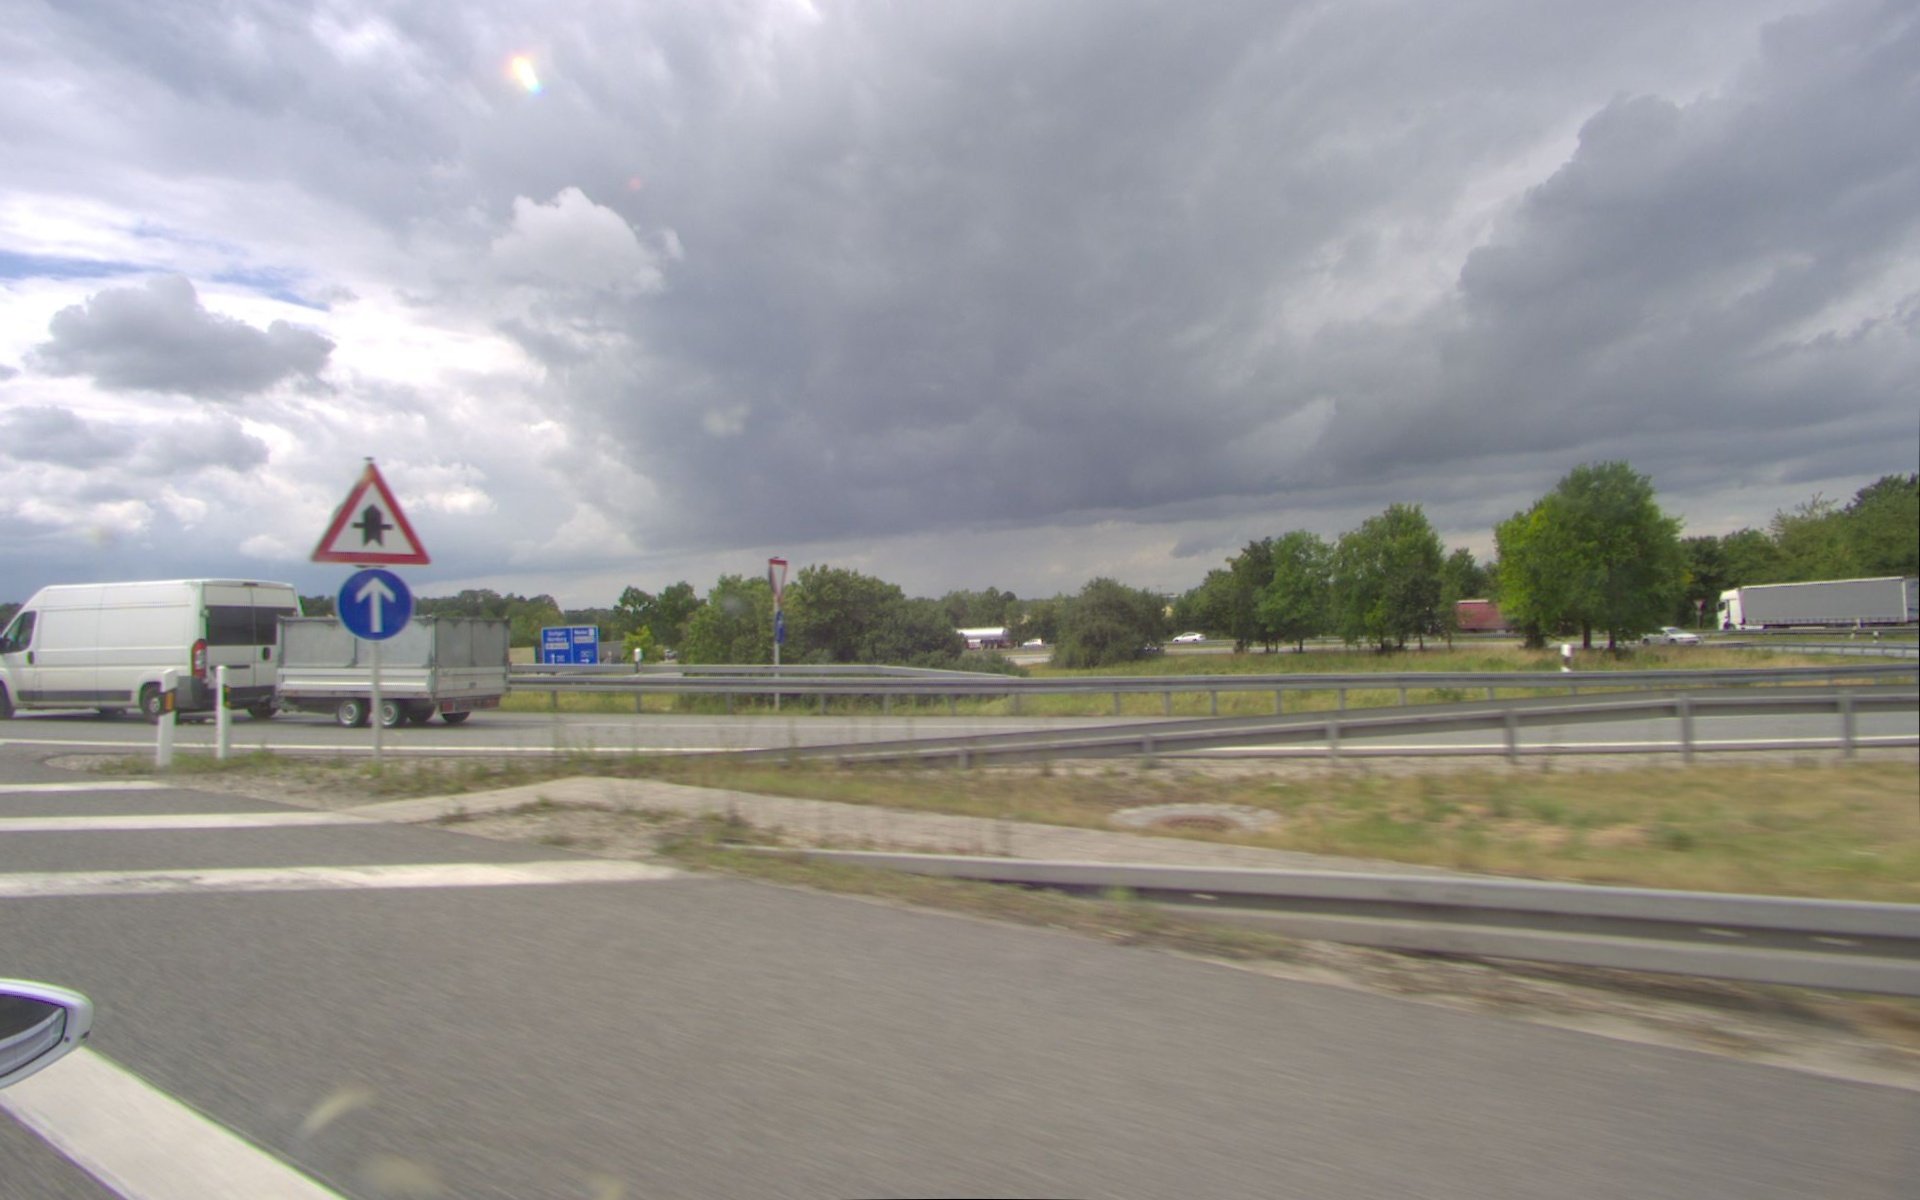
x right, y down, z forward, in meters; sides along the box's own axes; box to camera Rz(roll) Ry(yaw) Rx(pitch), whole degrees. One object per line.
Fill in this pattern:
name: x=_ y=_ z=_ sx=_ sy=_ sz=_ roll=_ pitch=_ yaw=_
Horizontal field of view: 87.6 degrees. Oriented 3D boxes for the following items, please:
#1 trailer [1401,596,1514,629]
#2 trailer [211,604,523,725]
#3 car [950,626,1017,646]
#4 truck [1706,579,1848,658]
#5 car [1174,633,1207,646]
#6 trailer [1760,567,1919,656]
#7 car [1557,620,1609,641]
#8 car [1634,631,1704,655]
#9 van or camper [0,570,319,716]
trailer: x=55.667 y=1.445 z=112.491 sx=3.089 sy=3.493 sz=11.628 roll=0 pitch=-2 yaw=-31
trailer: x=-10.021 y=1.059 z=17.038 sx=4.423 sy=1.865 sz=1.999 roll=-1 pitch=-1 yaw=13
car: x=3.772 y=5.814 z=163.200 sx=11.640 sy=3.119 sz=3.422 roll=-2 pitch=-2 yaw=44
truck: x=66.989 y=1.557 z=82.481 sx=3.989 sy=6.151 sz=8.980 roll=0 pitch=-1 yaw=-3
car: x=31.814 y=5.427 z=138.206 sx=3.958 sy=1.807 sz=1.887 roll=-2 pitch=-2 yaw=44
trailer: x=67.319 y=0.928 z=75.461 sx=3.940 sy=6.166 sz=12.098 roll=0 pitch=-1 yaw=-3
car: x=61.822 y=2.992 z=99.382 sx=1.970 sy=2.039 sz=3.984 roll=0 pitch=-2 yaw=-27
car: x=54.800 y=3.301 z=77.490 sx=1.766 sy=1.772 sz=4.523 roll=1 pitch=-2 yaw=-10
van or camper: x=-15.020 y=0.779 z=18.316 sx=5.831 sy=2.391 sz=2.229 roll=-1 pitch=-1 yaw=15
